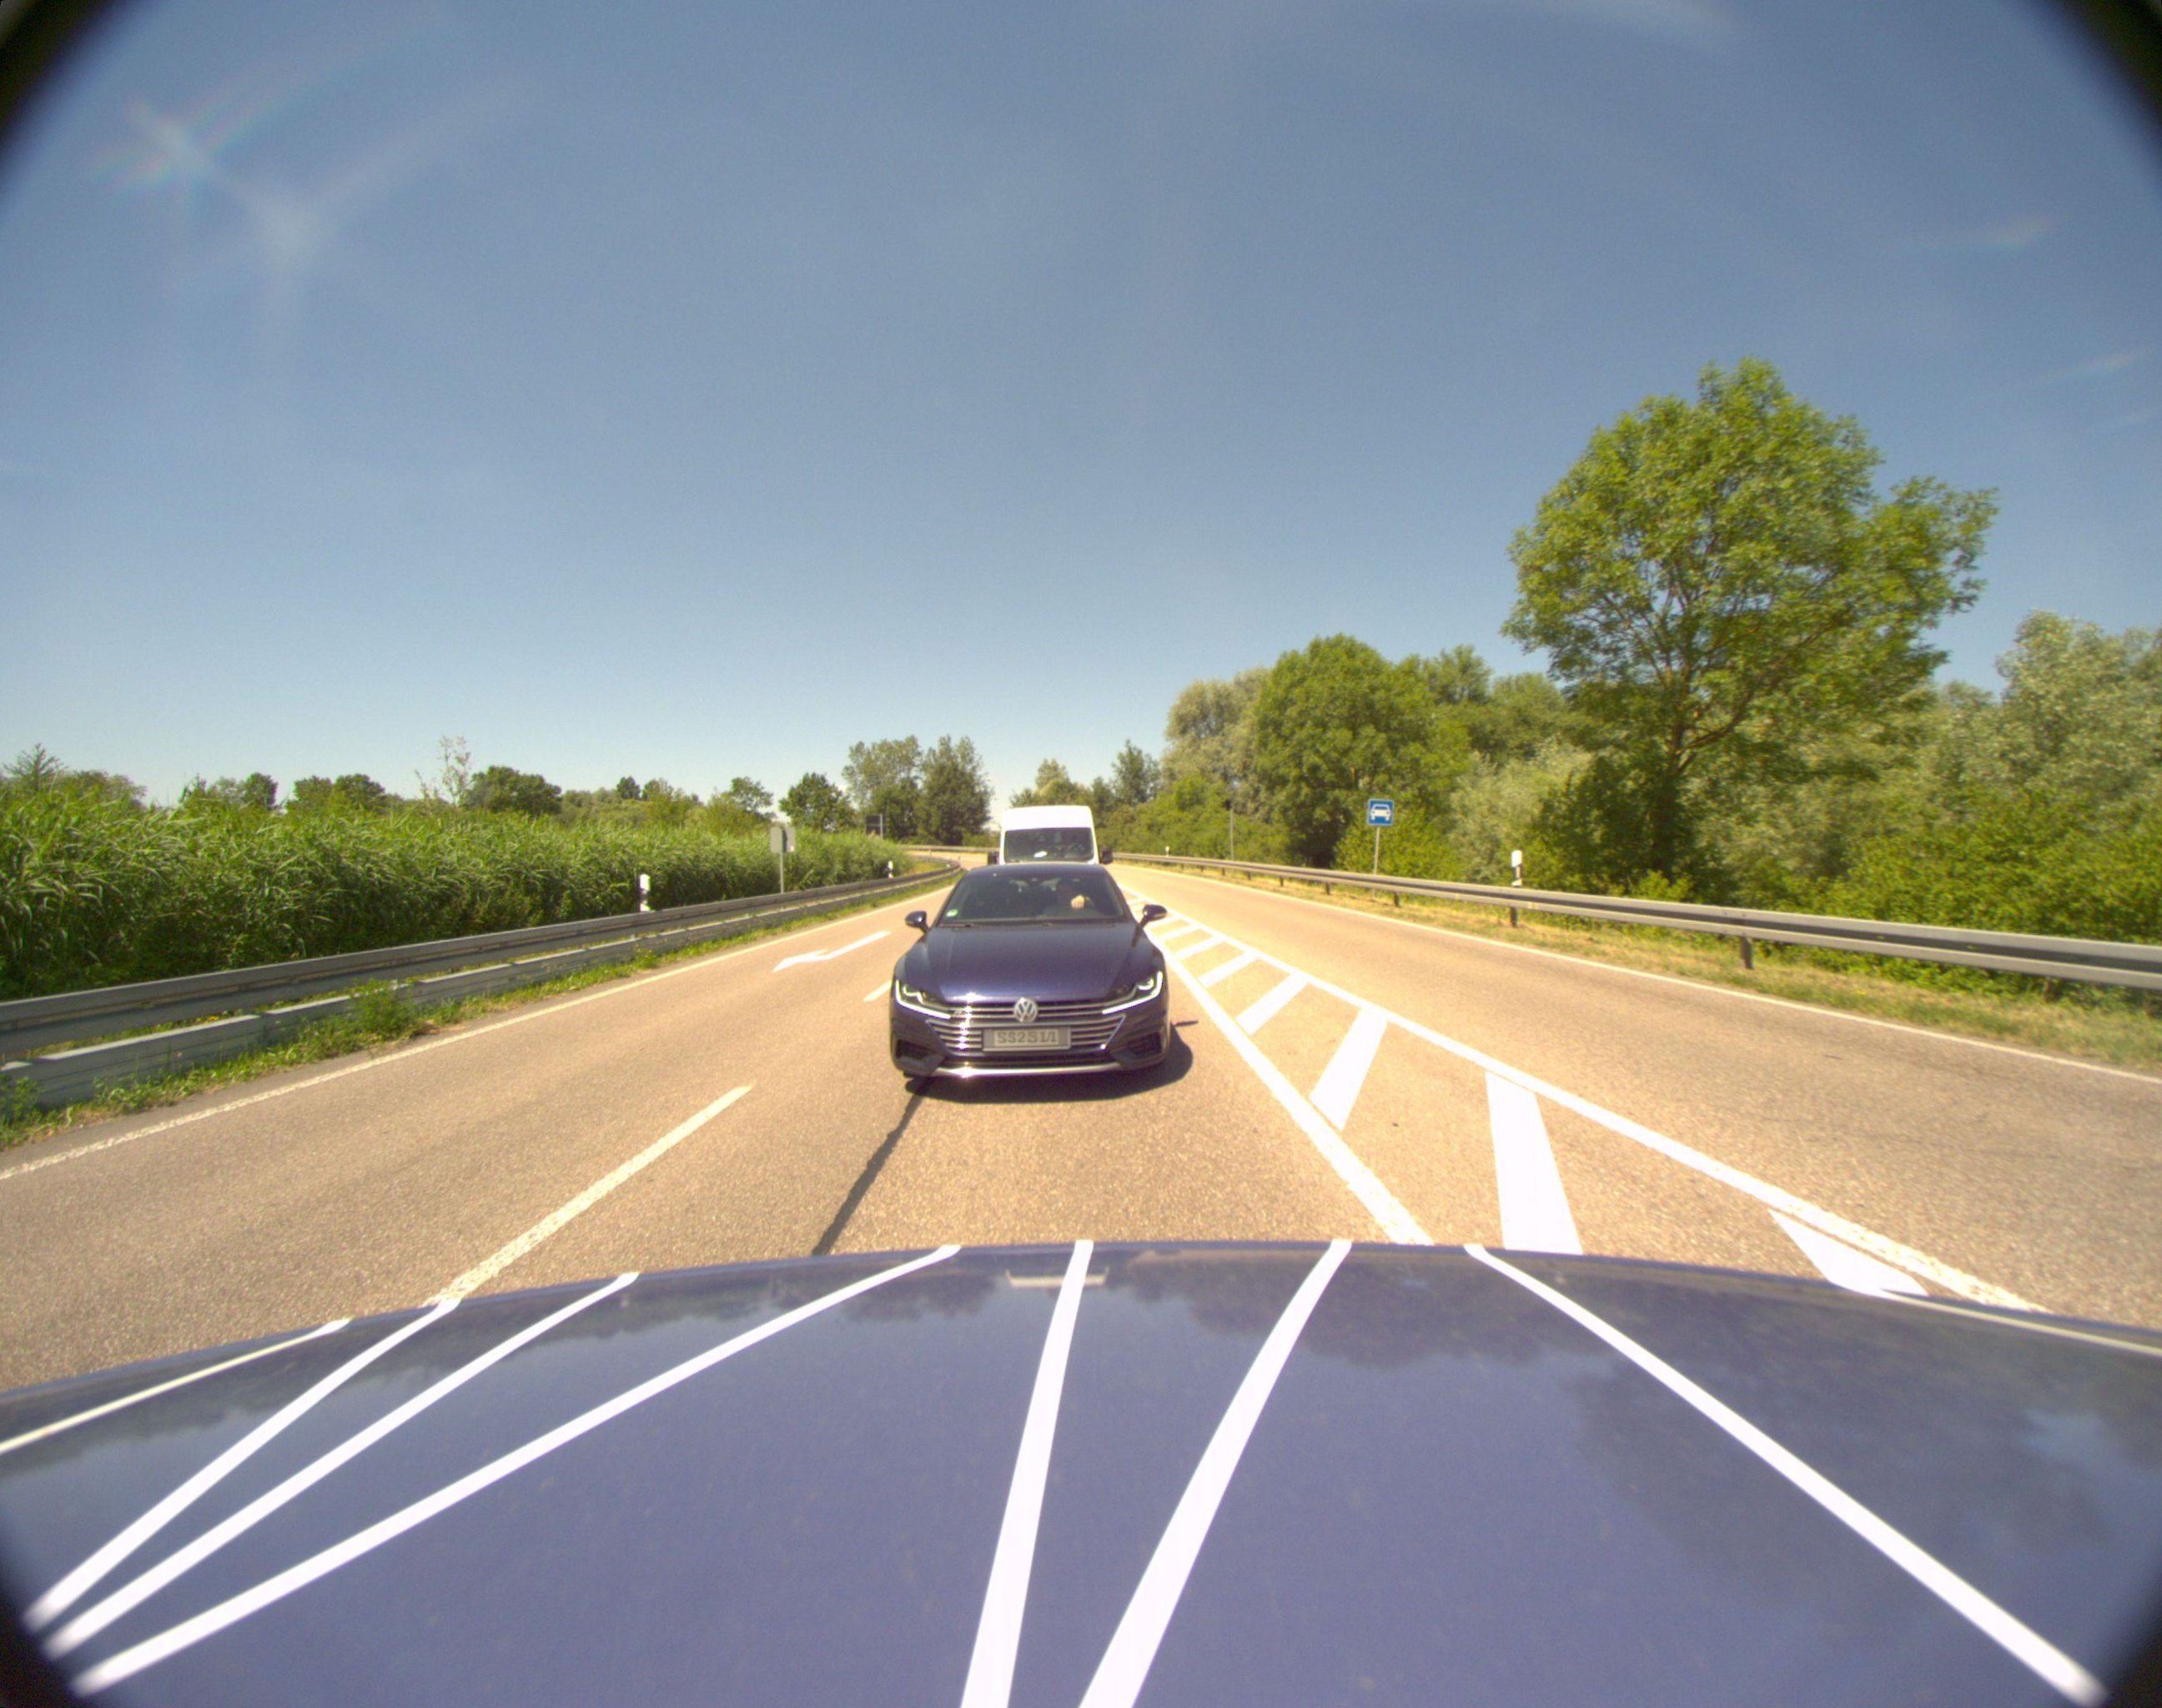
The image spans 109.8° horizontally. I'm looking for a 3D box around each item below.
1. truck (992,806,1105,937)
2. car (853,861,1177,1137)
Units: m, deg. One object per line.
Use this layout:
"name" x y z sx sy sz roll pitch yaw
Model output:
"truck" -0.770 0.288 16.890 2.011 2.365 5.909 -2 1 -4
"car" -0.351 0.852 6.560 1.819 1.454 4.415 -1 1 1
